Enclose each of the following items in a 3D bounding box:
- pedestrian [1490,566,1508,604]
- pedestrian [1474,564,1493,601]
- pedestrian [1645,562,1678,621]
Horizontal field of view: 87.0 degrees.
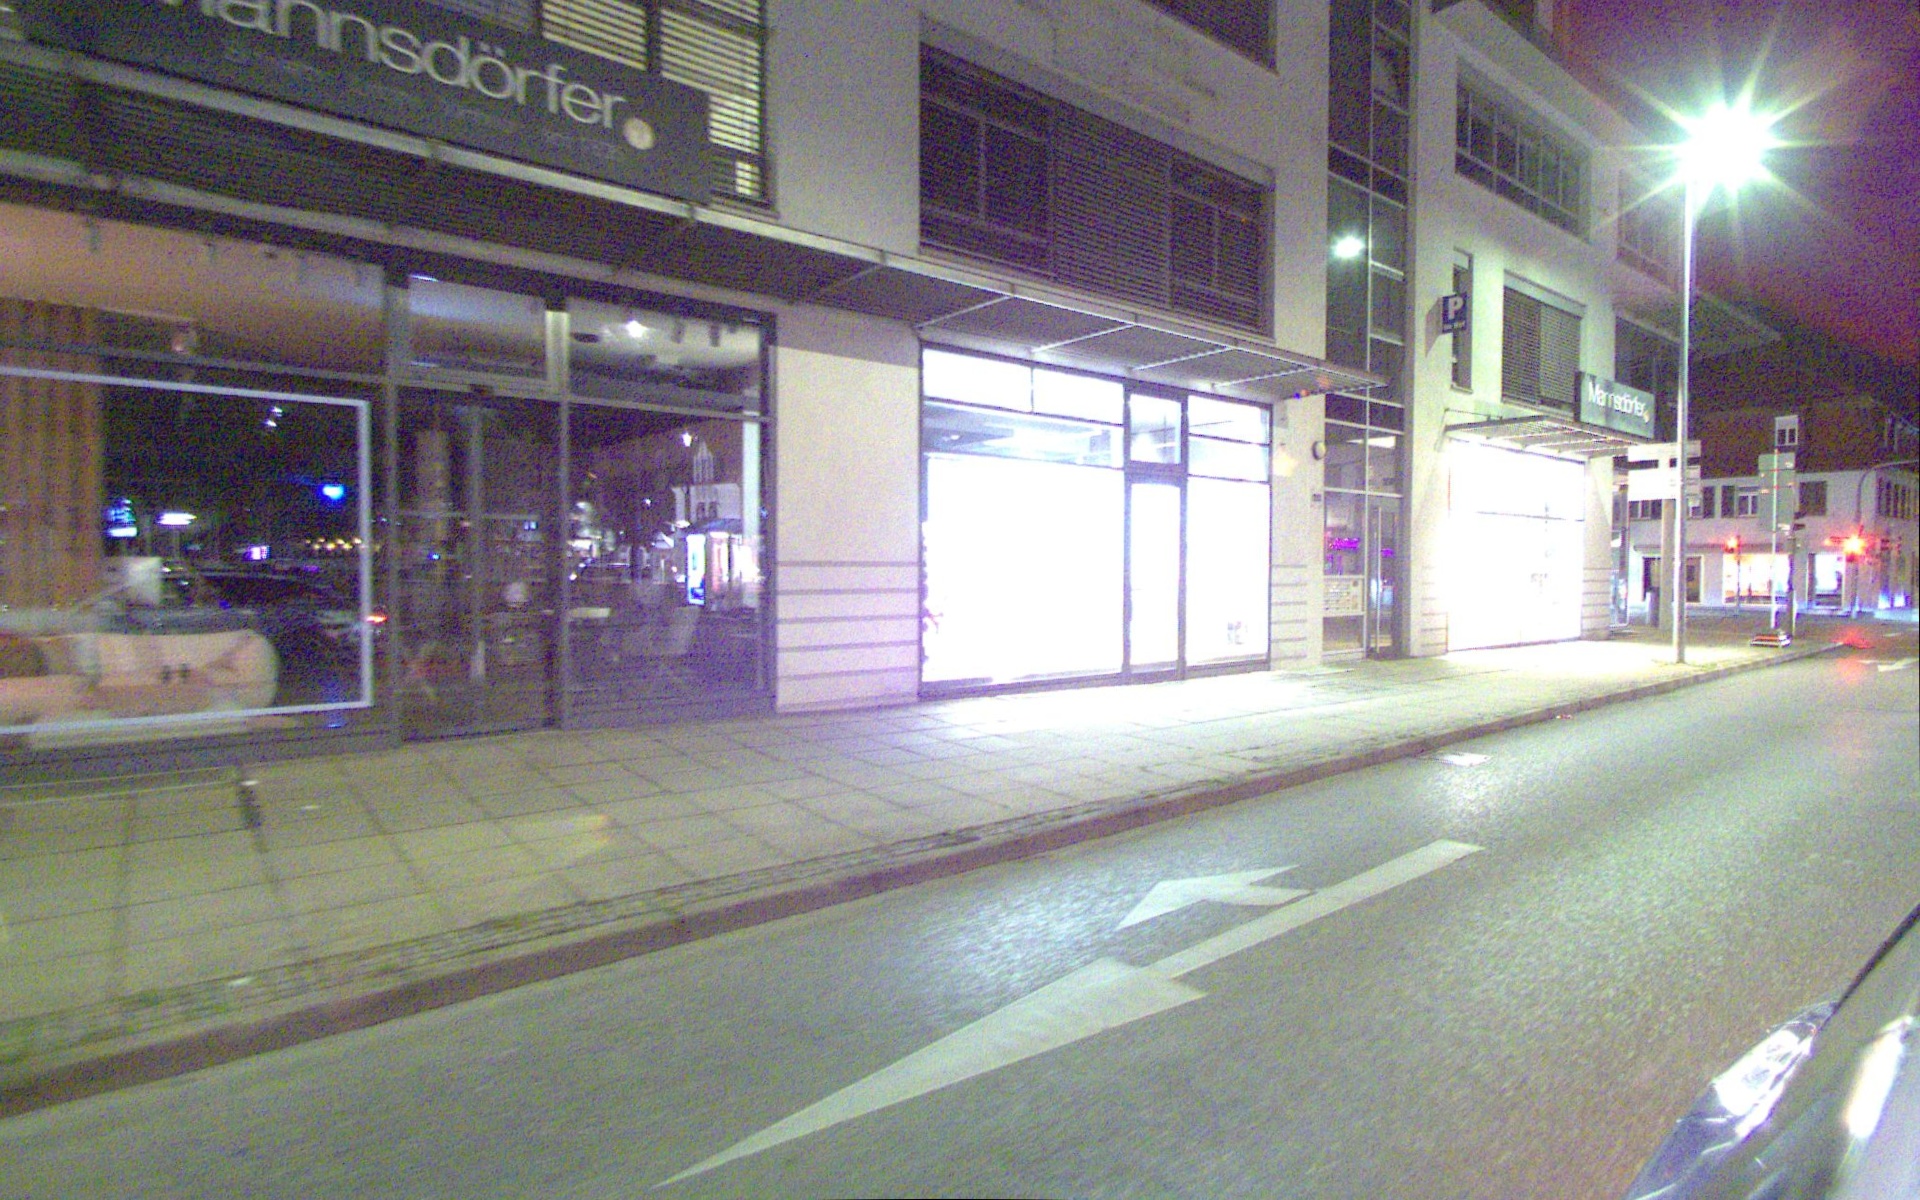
[{"bbox_3d":[24.776,-0.674,46.542,0.556,1.738,0.524,-1,0,-36],"label":"pedestrian"},{"bbox_3d":[24.299,-0.810,46.973,0.556,1.738,0.567,-1,0,-34],"label":"pedestrian"},{"bbox_3d":[20.792,-0.253,30.001,0.634,1.703,0.541,-1,0,-19],"label":"pedestrian"}]
